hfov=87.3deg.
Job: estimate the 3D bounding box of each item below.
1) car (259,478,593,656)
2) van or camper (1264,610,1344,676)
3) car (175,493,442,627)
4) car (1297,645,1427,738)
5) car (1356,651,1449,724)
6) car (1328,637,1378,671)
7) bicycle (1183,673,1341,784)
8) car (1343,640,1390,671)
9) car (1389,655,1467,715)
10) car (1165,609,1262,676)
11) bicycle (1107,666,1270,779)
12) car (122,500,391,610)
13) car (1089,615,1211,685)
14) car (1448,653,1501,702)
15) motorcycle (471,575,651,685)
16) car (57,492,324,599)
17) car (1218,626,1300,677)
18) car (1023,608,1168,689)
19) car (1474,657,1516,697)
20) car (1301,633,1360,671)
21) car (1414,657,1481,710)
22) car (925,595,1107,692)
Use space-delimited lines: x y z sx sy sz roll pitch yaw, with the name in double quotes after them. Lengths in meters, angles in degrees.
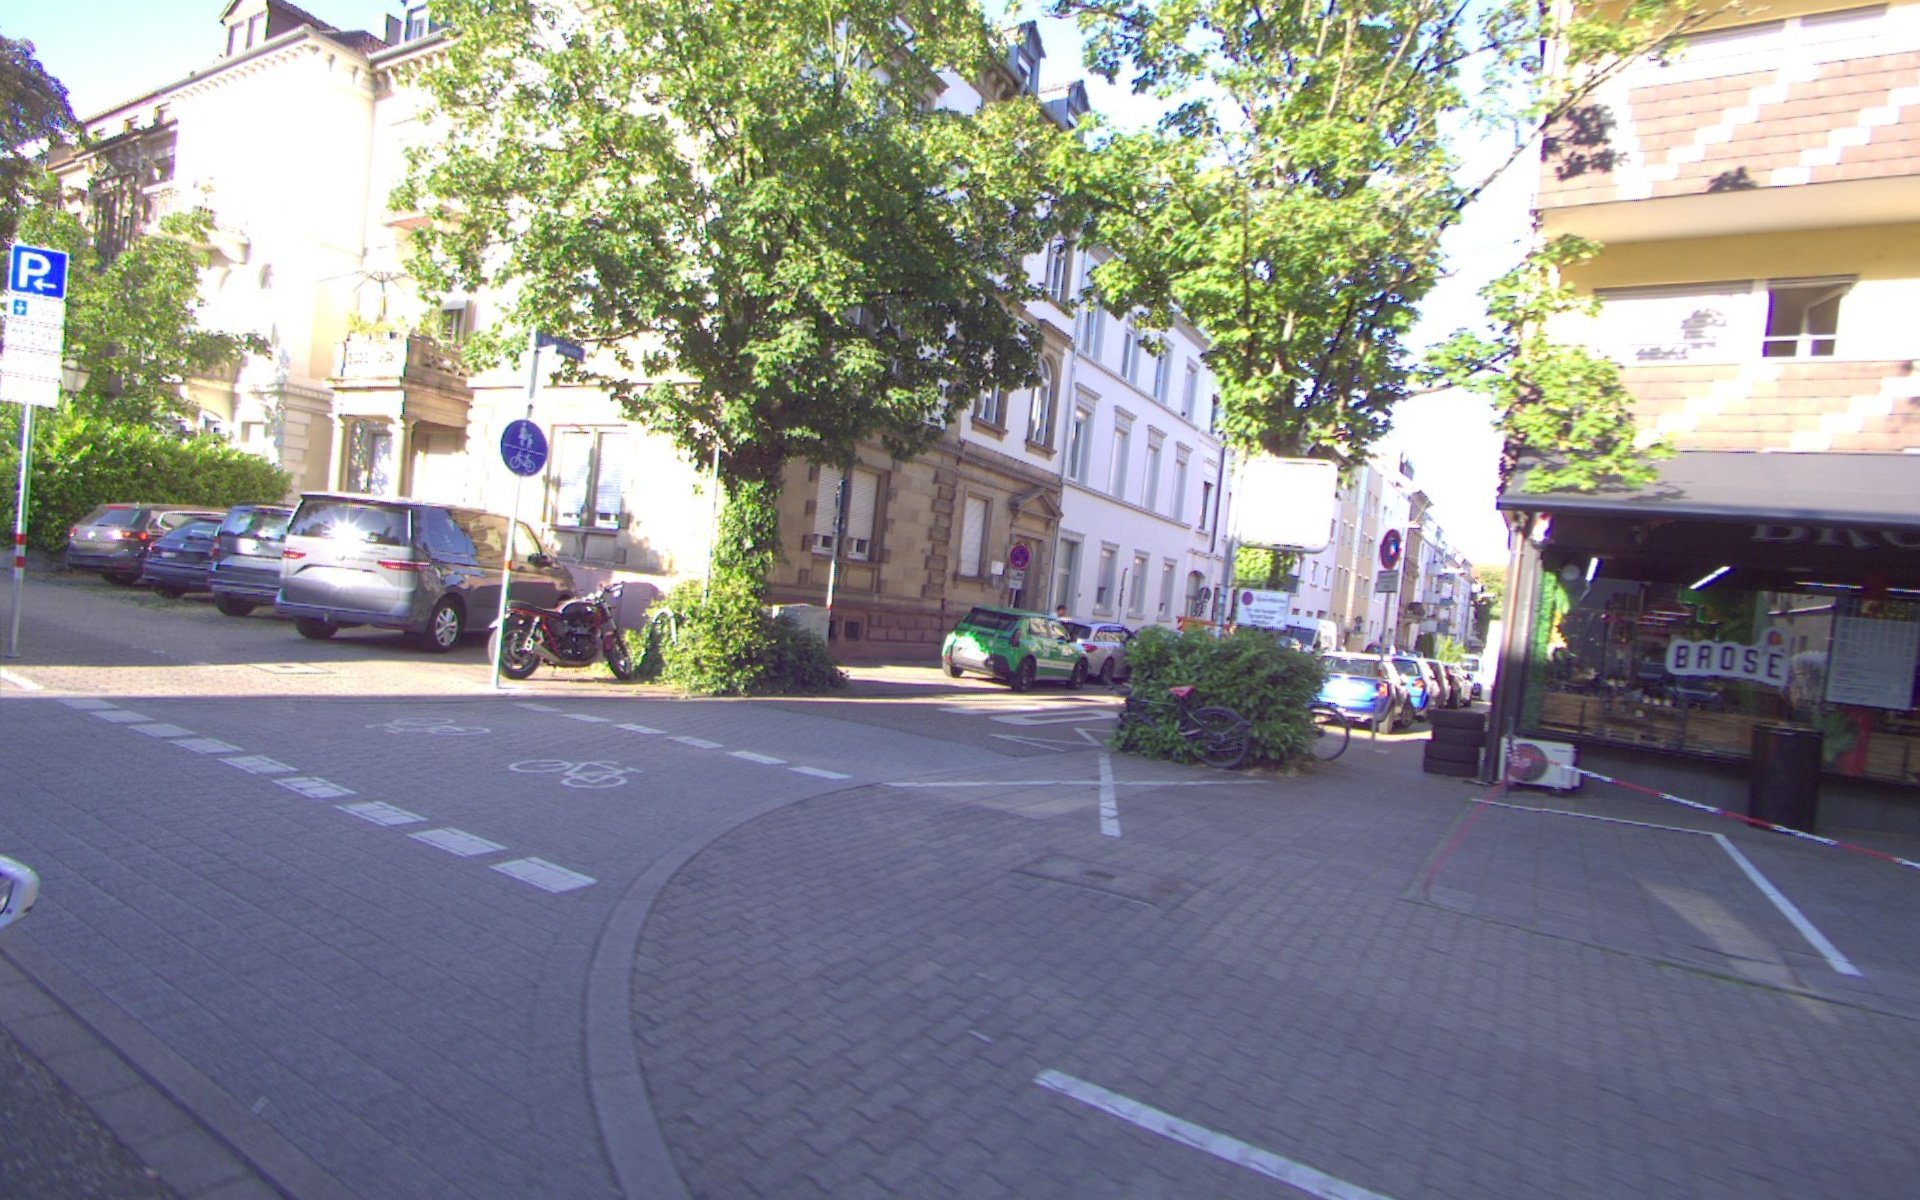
-7.191 -0.377 14.226 1.878 1.916 4.548 6 0 4 "car"
15.364 1.967 44.722 1.897 2.526 5.714 7 0 32 "van or camper"
-10.059 -0.551 15.912 1.483 1.700 3.812 7 0 2 "car"
7.867 1.737 19.546 1.633 1.436 3.349 7 0 32 "car"
10.631 2.066 24.073 1.475 1.436 3.140 7 0 32 "car"
22.485 3.103 57.506 1.897 1.605 3.650 7 0 32 "car"
3.311 1.391 11.086 1.554 0.963 0.342 6 3 26 "bicycle"
24.852 3.384 61.372 1.897 1.605 3.650 7 0 32 "car"
13.293 2.383 28.498 1.475 1.436 3.140 7 0 32 "car"
8.367 1.424 33.021 1.897 1.881 3.650 7 0 32 "car"
2.422 1.286 10.729 1.554 0.961 0.343 6 -2 26 "bicycle"
-12.055 -0.689 17.574 1.483 1.544 3.813 7 0 10 "car"
5.359 1.425 28.010 1.897 1.605 3.920 7 0 32 "car"
20.845 3.124 40.732 1.475 1.750 3.140 7 1 32 "car"
-4.615 0.371 11.814 0.516 1.139 2.055 7 0 26 "motorcycle"
-13.922 -0.915 18.501 1.483 1.544 3.813 7 0 10 "car"
11.337 1.968 37.976 1.897 1.605 3.650 7 0 32 "car"
3.373 1.191 24.411 1.897 1.605 3.920 7 0 32 "car"
26.933 3.848 50.590 1.475 1.750 3.140 7 1 32 "car"
18.484 2.627 50.140 1.897 1.605 3.650 7 0 32 "car"
15.703 2.670 32.332 1.475 1.436 3.140 7 0 32 "car"
1.239 0.911 20.514 1.897 1.605 3.920 7 0 32 "car"
